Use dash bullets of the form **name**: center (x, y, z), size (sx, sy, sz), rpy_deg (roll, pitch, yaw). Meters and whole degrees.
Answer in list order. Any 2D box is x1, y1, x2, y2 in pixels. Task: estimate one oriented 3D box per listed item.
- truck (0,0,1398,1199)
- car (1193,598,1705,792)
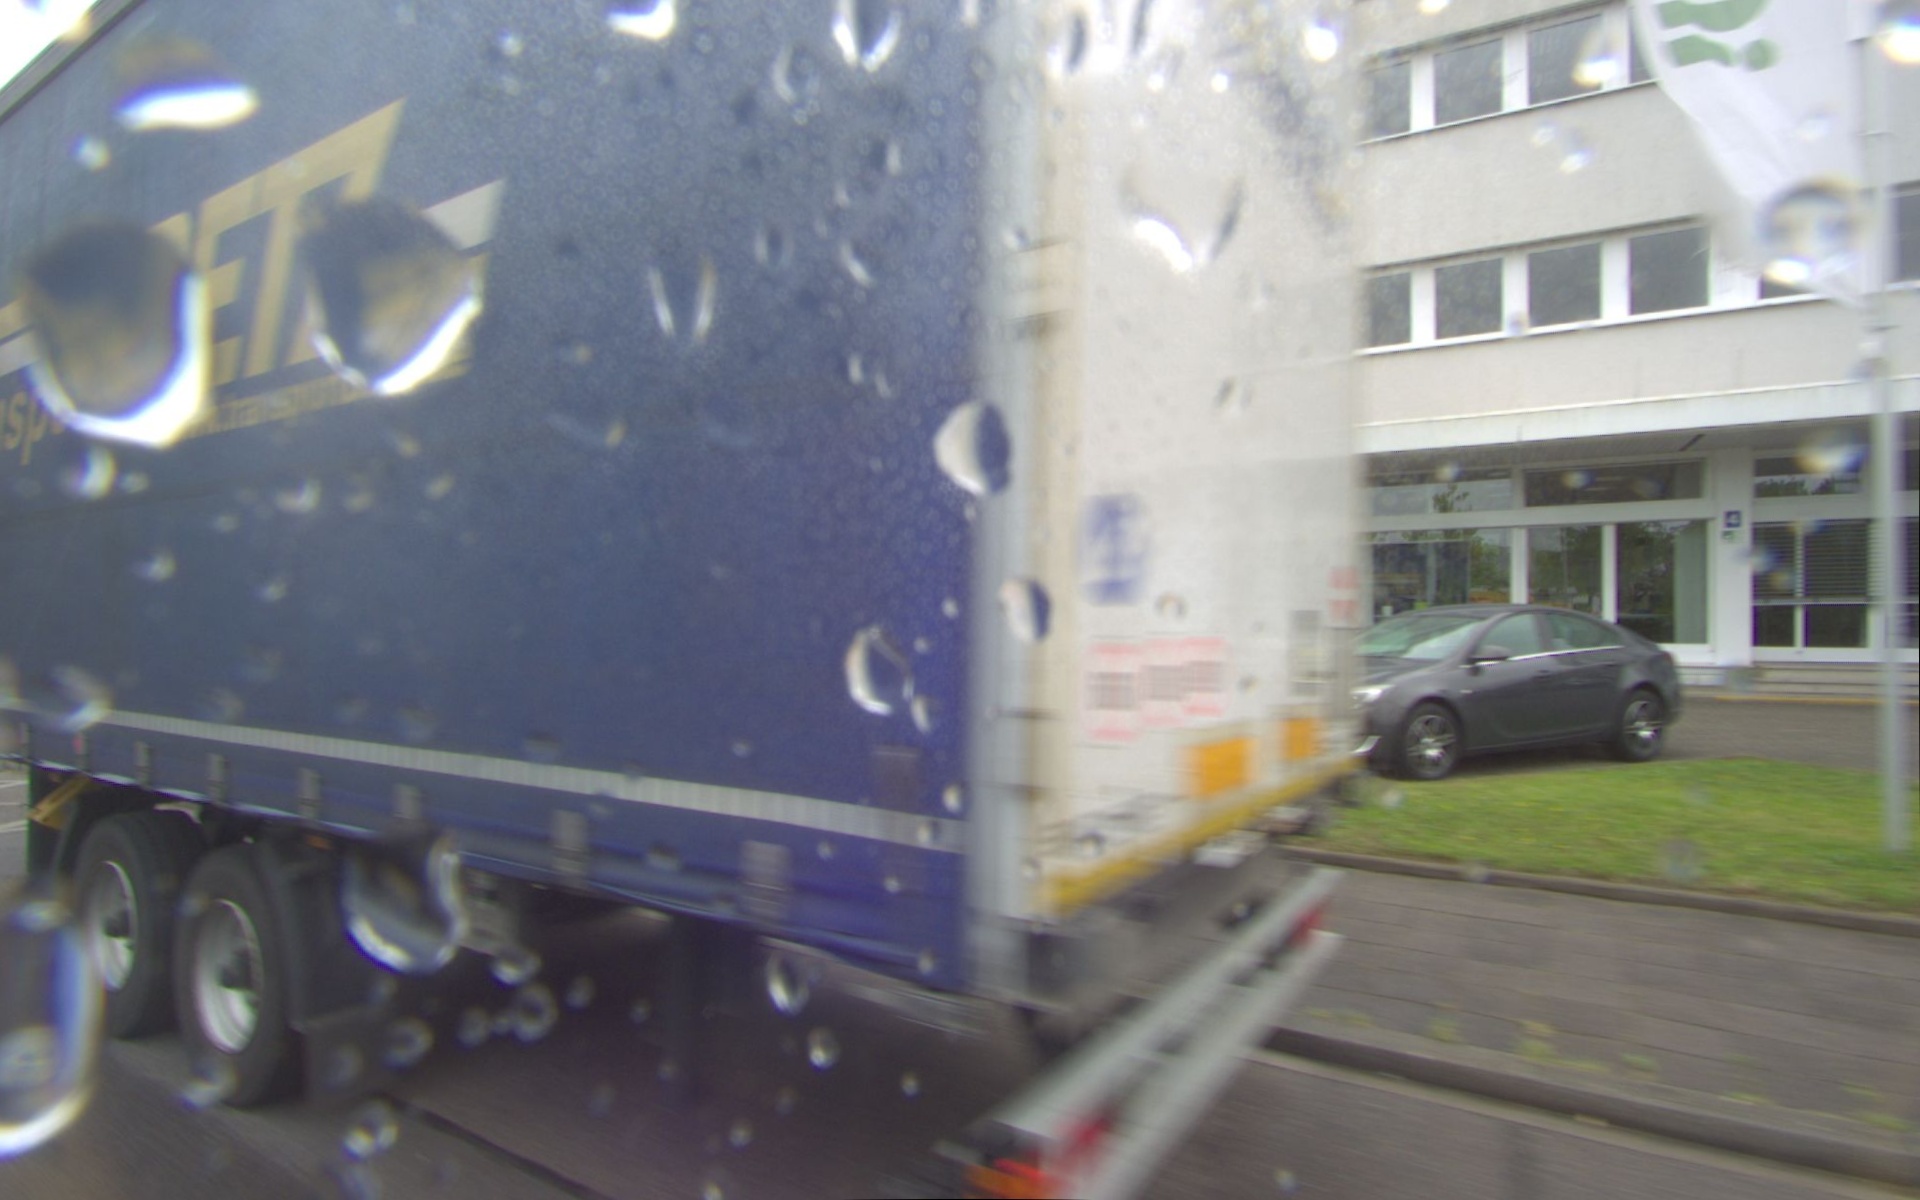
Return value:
- **truck**: center (-2.302, -0.333, 4.617), size (7.639, 3.656, 2.737), rpy_deg (-1, -3, 32)
- **car**: center (4.638, 0.740, 9.454), size (4.600, 1.487, 1.785), rpy_deg (0, 0, -23)
